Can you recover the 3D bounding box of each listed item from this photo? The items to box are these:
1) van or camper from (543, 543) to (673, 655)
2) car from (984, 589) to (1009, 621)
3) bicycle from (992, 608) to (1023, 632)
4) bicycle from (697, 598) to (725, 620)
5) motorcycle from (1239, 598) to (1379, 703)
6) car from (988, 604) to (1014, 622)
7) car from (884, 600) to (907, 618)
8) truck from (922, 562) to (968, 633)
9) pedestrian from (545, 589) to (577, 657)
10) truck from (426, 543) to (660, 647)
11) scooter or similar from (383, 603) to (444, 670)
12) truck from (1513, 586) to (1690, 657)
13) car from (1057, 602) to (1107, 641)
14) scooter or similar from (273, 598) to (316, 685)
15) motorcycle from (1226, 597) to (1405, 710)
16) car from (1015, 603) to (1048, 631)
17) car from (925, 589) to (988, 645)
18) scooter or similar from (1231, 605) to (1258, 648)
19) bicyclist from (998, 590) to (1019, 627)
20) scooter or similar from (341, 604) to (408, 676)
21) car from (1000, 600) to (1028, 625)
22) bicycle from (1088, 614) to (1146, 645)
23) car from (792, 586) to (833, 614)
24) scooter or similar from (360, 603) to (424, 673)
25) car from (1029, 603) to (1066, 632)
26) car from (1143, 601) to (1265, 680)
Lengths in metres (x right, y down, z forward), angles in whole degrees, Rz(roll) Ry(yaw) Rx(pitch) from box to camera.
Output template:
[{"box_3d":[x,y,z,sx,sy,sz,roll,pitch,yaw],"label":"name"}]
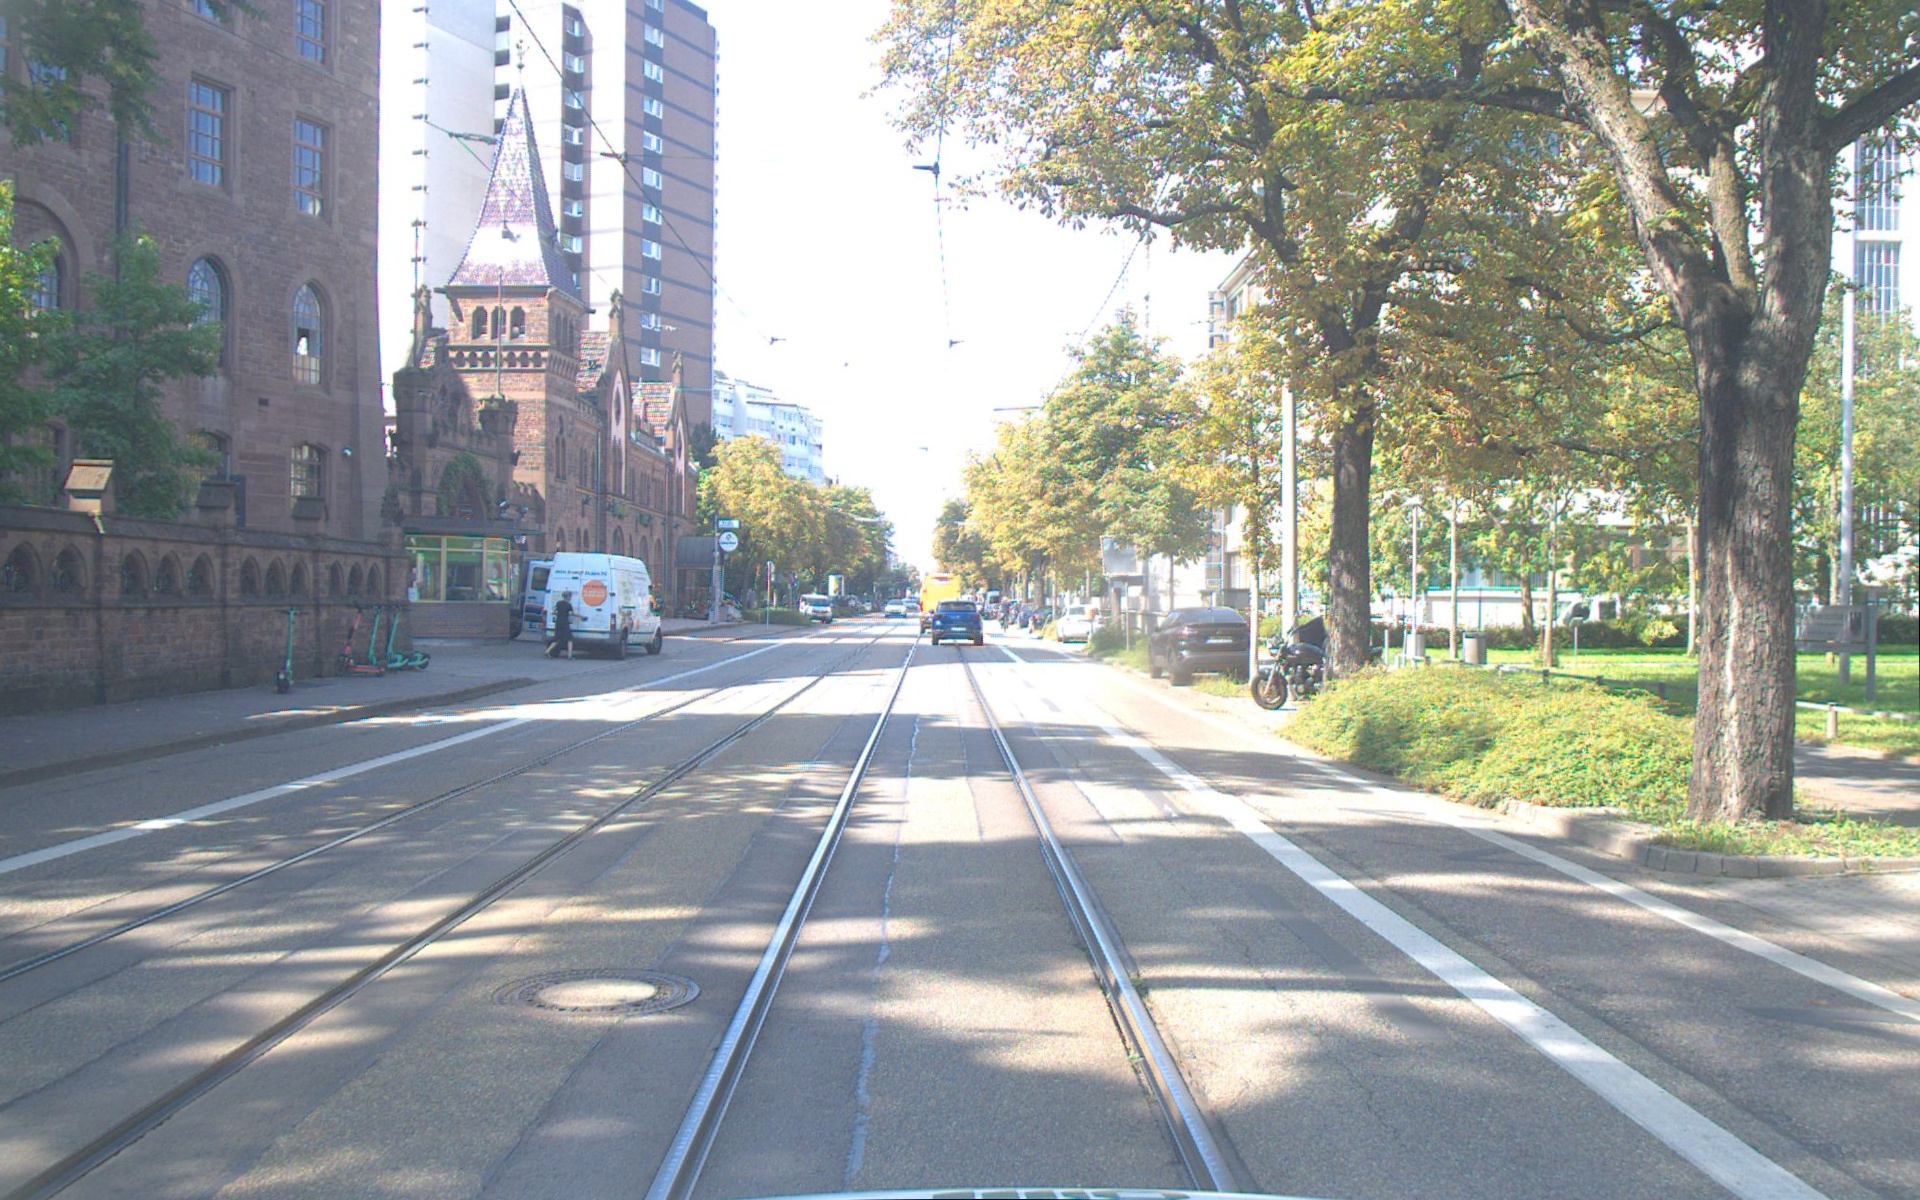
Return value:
[{"box_3d":[-9.208,-0.020,43.799,2.069,2.722,5.955,1,0,1],"label":"van or camper"},{"box_3d":[3.302,0.466,149.839,1.953,2.804,5.759,1,0,-2],"label":"car"},{"box_3d":[2.375,0.997,82.879,1.373,1.154,3.999,1,0,-1],"label":"bicycle"},{"box_3d":[-13.783,0.472,91.524,1.423,1.112,0.399,4,-1,-5],"label":"bicycle"},{"box_3d":[5.398,0.759,25.790,0.839,1.542,2.436,1,0,-25],"label":"motorcycle"},{"box_3d":[3.437,1.069,139.245,1.869,1.457,4.291,1,0,-2],"label":"car"},{"box_3d":[-5.593,0.800,143.332,1.809,1.518,4.867,0,0,0],"label":"car"},{"box_3d":[-0.694,-0.111,77.676,2.092,3.179,6.084,0,0,-1],"label":"truck"},{"box_3d":[-9.758,0.556,40.449,0.487,1.627,0.552,1,0,25],"label":"pedestrian"},{"box_3d":[-12.190,-0.164,48.596,6.189,2.582,2.132,4,1,4],"label":"truck"},{"box_3d":[-9.982,0.664,30.223,0.332,1.199,1.177,1,0,24],"label":"scooter or similar"},{"box_3d":[22.669,0.761,58.624,5.393,2.366,2.299,1,0,0],"label":"truck"},{"box_3d":[4.809,0.826,65.626,1.625,1.507,4.216,0,0,0],"label":"car"},{"box_3d":[-9.498,0.577,23.624,0.413,1.199,1.311,1,0,-16],"label":"scooter or similar"},{"box_3d":[5.159,0.754,24.085,2.407,1.542,0.849,1,0,38],"label":"motorcycle"},{"box_3d":[4.087,0.992,95.544,1.707,1.583,4.216,0,0,0],"label":"car"},{"box_3d":[-0.146,0.575,57.989,2.092,1.891,5.567,0,0,-1],"label":"car"},{"box_3d":[8.690,0.790,50.616,0.544,1.281,1.818,1,0,2],"label":"scooter or similar"},{"box_3d":[2.418,0.412,82.886,1.011,1.844,1.016,1,0,-1],"label":"bicyclist"},{"box_3d":[-9.880,0.665,27.919,0.332,1.199,1.177,1,0,24],"label":"scooter or similar"},{"box_3d":[3.831,0.880,118.733,1.705,1.697,4.360,1,0,-2],"label":"car"},{"box_3d":[5.014,0.937,52.870,1.775,0.975,0.558,1,0,-1],"label":"bicycle"},{"box_3d":[-10.012,-0.020,112.238,1.722,1.828,3.974,1,0,-22],"label":"car"},{"box_3d":[-9.983,0.664,29.089,0.332,1.199,1.177,1,0,24],"label":"scooter or similar"},{"box_3d":[4.417,0.867,84.001,1.625,1.432,4.216,0,0,0],"label":"car"},{"box_3d":[5.047,0.794,34.749,1.720,1.542,4.607,0,0,-2],"label":"car"}]
